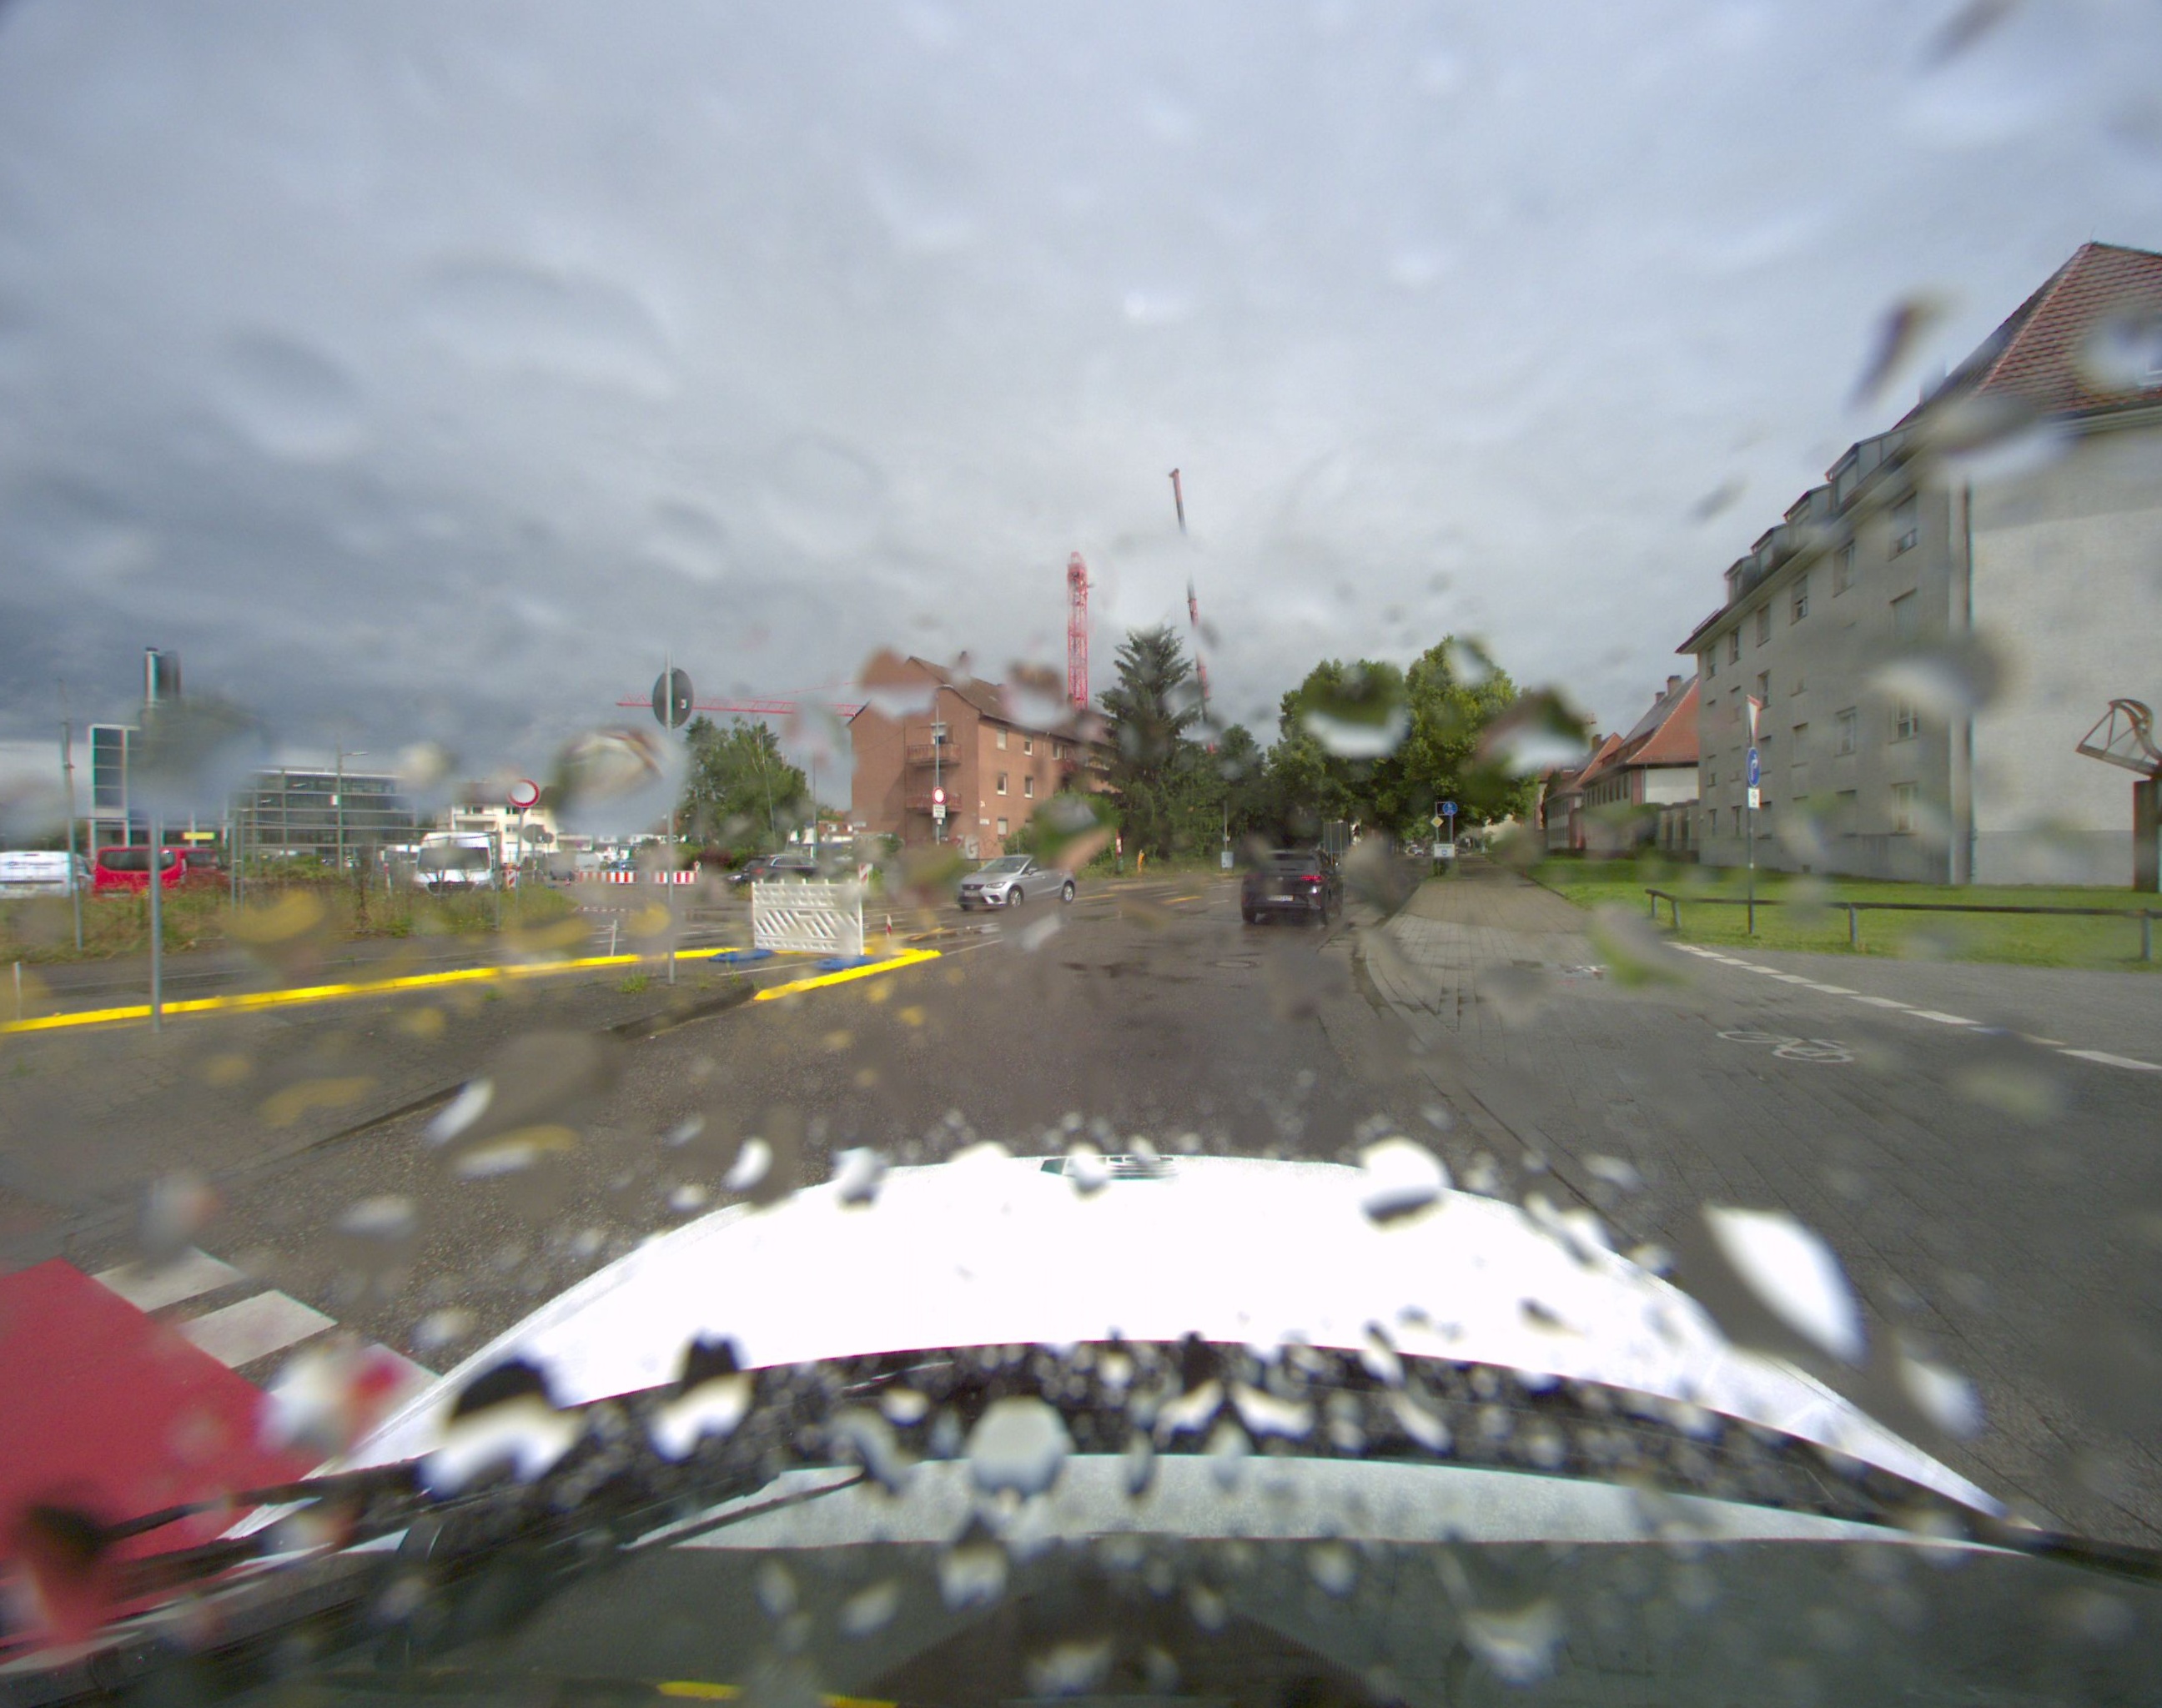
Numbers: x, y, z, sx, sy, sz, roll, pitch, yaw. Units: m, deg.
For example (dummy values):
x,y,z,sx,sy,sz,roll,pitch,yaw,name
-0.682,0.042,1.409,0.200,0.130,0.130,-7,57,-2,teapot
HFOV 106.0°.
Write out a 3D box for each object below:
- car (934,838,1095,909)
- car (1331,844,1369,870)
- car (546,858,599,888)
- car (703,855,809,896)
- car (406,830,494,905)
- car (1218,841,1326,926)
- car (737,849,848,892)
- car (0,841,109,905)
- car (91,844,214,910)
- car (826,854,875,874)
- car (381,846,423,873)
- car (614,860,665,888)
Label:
x,y,z,sx,sy,sz,roll,pitch,yaw,name
-1.718,0.448,22.778,2.055,1.732,4.728,2,2,32,car
19.721,0.160,59.495,2.056,1.732,4.726,2,2,25,car
-37.860,1.391,60.646,3.948,2.123,2.013,-1,0,37,car
-14.107,0.901,35.418,4.074,1.632,1.600,-1,0,-34,car
-20.401,0.311,26.511,2.052,2.084,6.198,0,2,-36,car
4.349,0.543,18.077,1.882,1.617,4.020,1,2,19,car
-11.928,0.643,33.789,4.074,1.632,1.600,-1,0,-34,car
-31.229,0.512,24.743,3.951,1.700,1.869,3,2,44,car
-27.572,0.594,24.331,1.940,1.700,3.953,0,2,-42,car
-17.914,0.768,63.293,3.511,1.519,1.611,-1,0,-11,car
-56.691,0.434,68.089,2.391,2.084,4.916,0,2,-36,car
-34.343,1.522,63.324,3.948,2.123,2.013,-1,0,37,car
